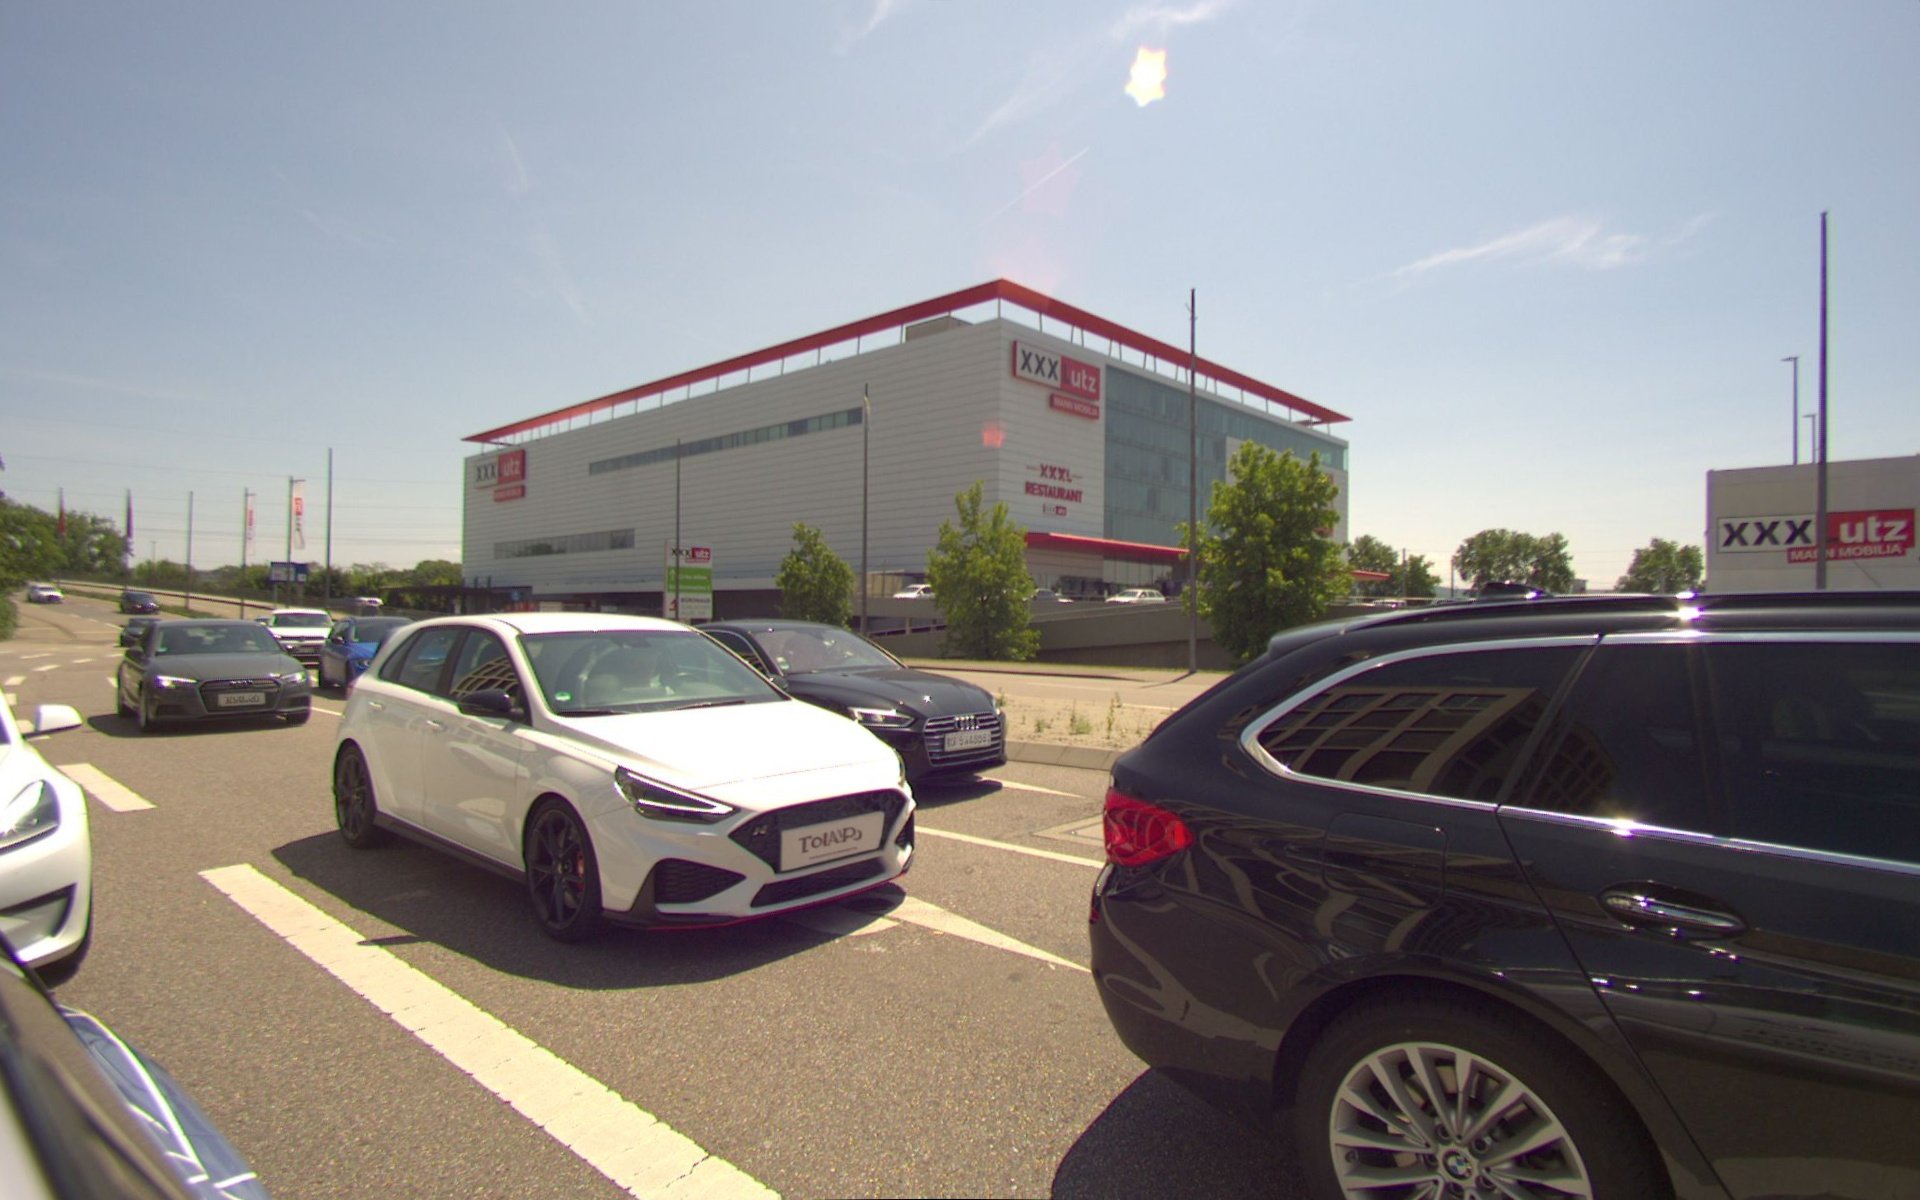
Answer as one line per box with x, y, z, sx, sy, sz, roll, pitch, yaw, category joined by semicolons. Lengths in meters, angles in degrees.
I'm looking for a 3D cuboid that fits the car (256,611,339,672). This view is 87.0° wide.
-18.611;1.122;28.361;1.653;1.587;4.066;1;-1;-37;car

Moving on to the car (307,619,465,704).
-11.054;1.095;19.348;1.775;1.424;4.412;2;-2;-41;car

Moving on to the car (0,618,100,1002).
-5.702;0.824;4.691;4.401;1.436;1.857;-1;-1;39;car

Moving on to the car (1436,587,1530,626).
27.196;0.349;52.694;3.998;1.946;1.973;-1;-2;41;car

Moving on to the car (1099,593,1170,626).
9.945;0.577;57.561;2.001;1.781;4.140;0;-2;44;car

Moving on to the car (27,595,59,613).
-88.230;0.387;97.378;3.999;1.472;1.775;3;3;41;car

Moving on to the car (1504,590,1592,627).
32.539;0.489;56.061;3.996;1.923;1.974;-1;-2;39;car

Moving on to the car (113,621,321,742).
-10.343;0.990;13.948;1.776;1.388;4.410;1;-1;-43;car

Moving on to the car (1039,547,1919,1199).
2.531;0.650;1.744;4.620;1.477;1.781;-1;-1;40;car

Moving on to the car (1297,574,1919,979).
3.836;0.665;4.677;3.991;1.505;1.782;-1;-1;36;car

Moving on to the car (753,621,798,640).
-16.955;2.834;93.334;1.911;1.632;3.698;0;-2;41;car

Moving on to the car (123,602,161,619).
-74.658;0.941;92.306;4.367;1.364;1.973;3;2;41;car

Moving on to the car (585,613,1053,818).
-1.492;0.853;9.144;4.533;1.401;1.729;-2;-2;43;car

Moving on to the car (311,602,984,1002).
-2.029;0.771;5.754;4.228;1.461;1.712;-1;-1;41;car

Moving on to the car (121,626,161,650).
-41.400;1.924;51.218;1.452;1.198;3.359;2;-3;-38;car
